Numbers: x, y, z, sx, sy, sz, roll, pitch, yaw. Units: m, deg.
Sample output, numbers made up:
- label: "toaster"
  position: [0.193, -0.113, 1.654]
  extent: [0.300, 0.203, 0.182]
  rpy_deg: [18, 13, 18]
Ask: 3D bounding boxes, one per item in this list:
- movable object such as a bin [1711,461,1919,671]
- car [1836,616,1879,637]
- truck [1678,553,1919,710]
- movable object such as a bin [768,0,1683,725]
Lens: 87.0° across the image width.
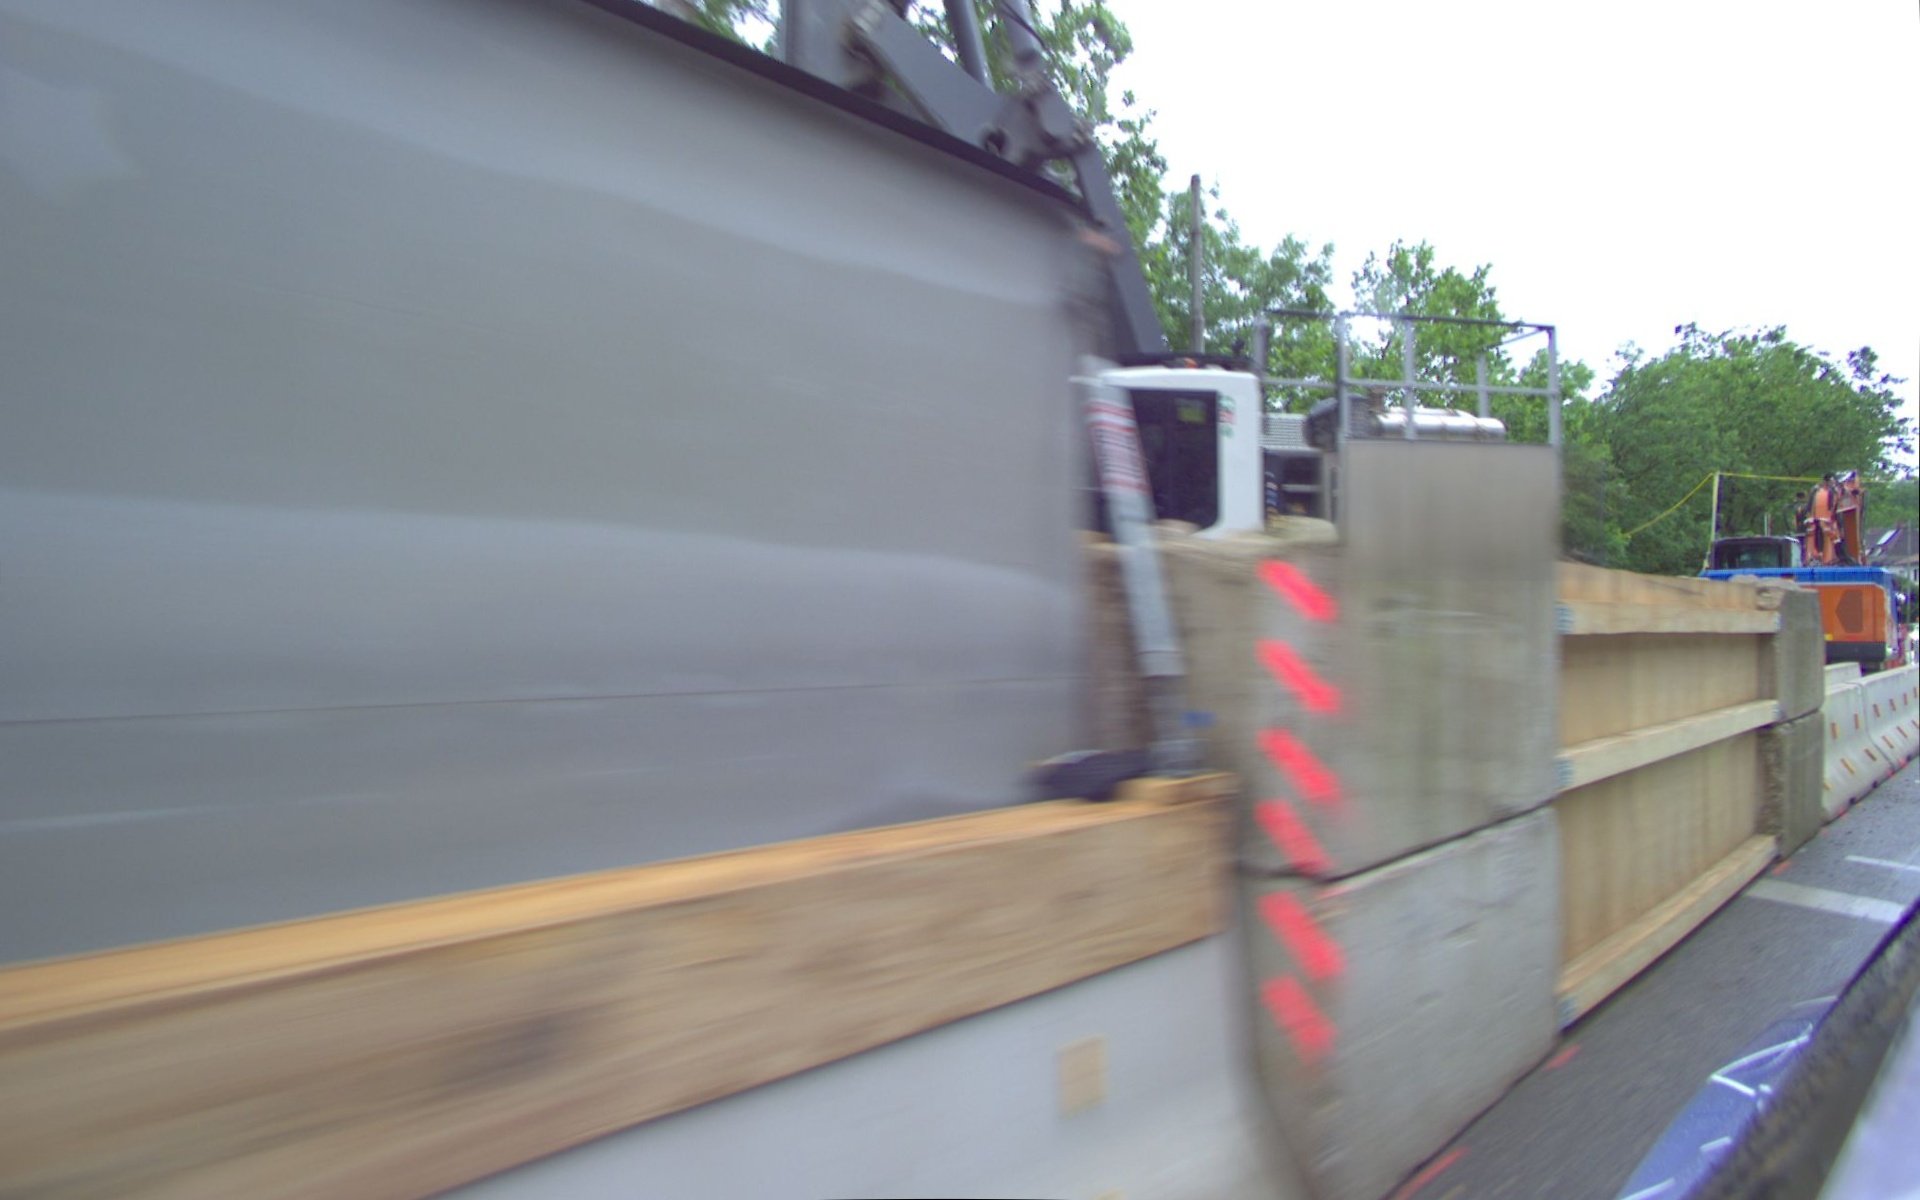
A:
- label: "movable object such as a bin"
  position: [19.411, -0.644, 22.818]
  extent: [4.404, 4.224, 2.886]
  rpy_deg: [2, -1, -38]
- label: "car"
  position: [62.710, 1.848, 70.708]
  extent: [3.563, 1.353, 1.823]
  rpy_deg: [0, -1, -41]
- label: "truck"
  position: [13.169, 0.402, 15.773]
  extent: [3.246, 2.134, 2.555]
  rpy_deg: [0, 1, -41]
- label: "movable object such as a bin"
  position: [1.917, -1.756, 9.126]
  extent: [7.013, 5.130, 3.702]
  rpy_deg: [0, 0, -12]
